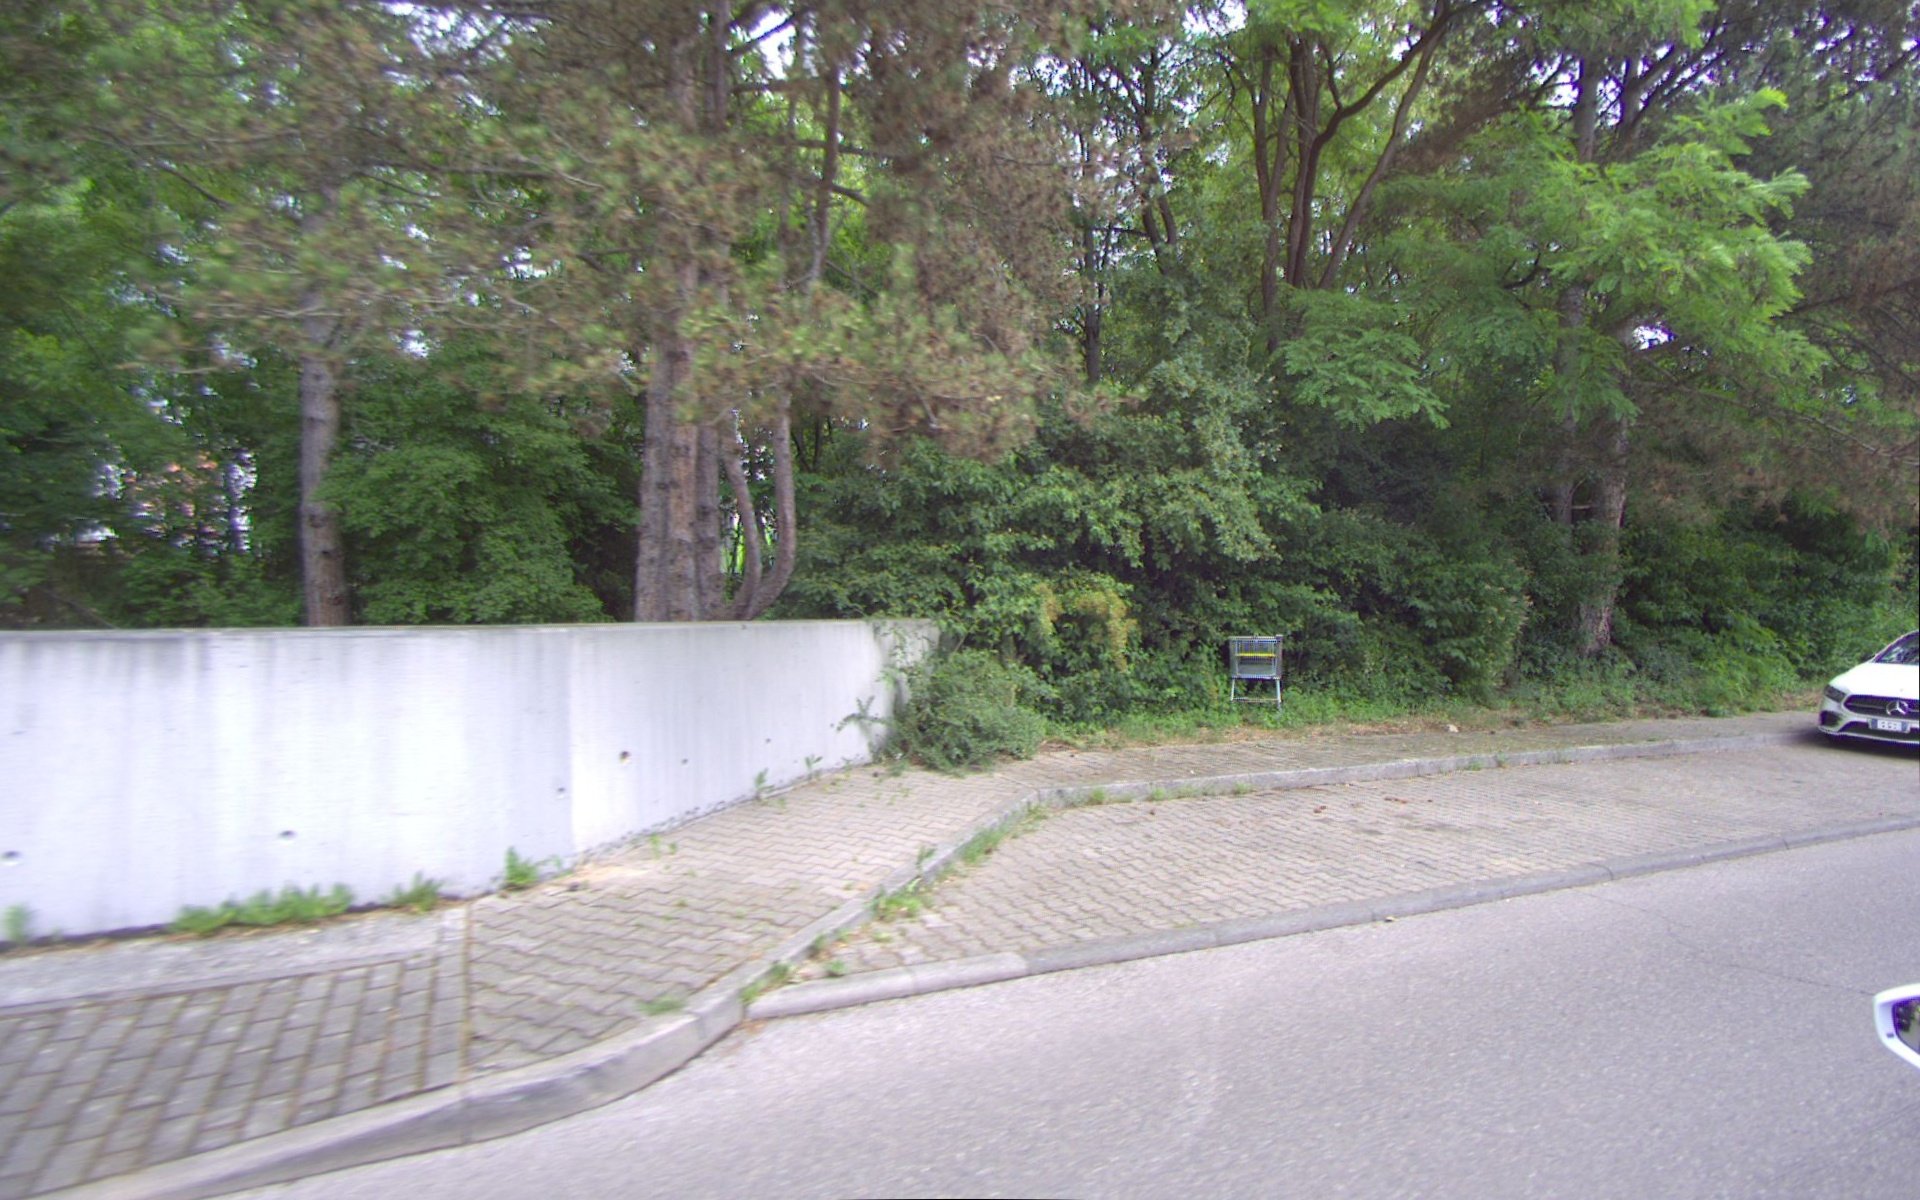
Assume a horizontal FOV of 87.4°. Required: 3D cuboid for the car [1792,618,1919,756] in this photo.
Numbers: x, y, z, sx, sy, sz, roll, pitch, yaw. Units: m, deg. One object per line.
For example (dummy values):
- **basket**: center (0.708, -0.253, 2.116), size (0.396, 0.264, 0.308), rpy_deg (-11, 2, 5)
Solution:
- **car**: center (12.076, 0.982, 12.006), size (4.318, 1.422, 1.797), rpy_deg (1, 2, -29)
